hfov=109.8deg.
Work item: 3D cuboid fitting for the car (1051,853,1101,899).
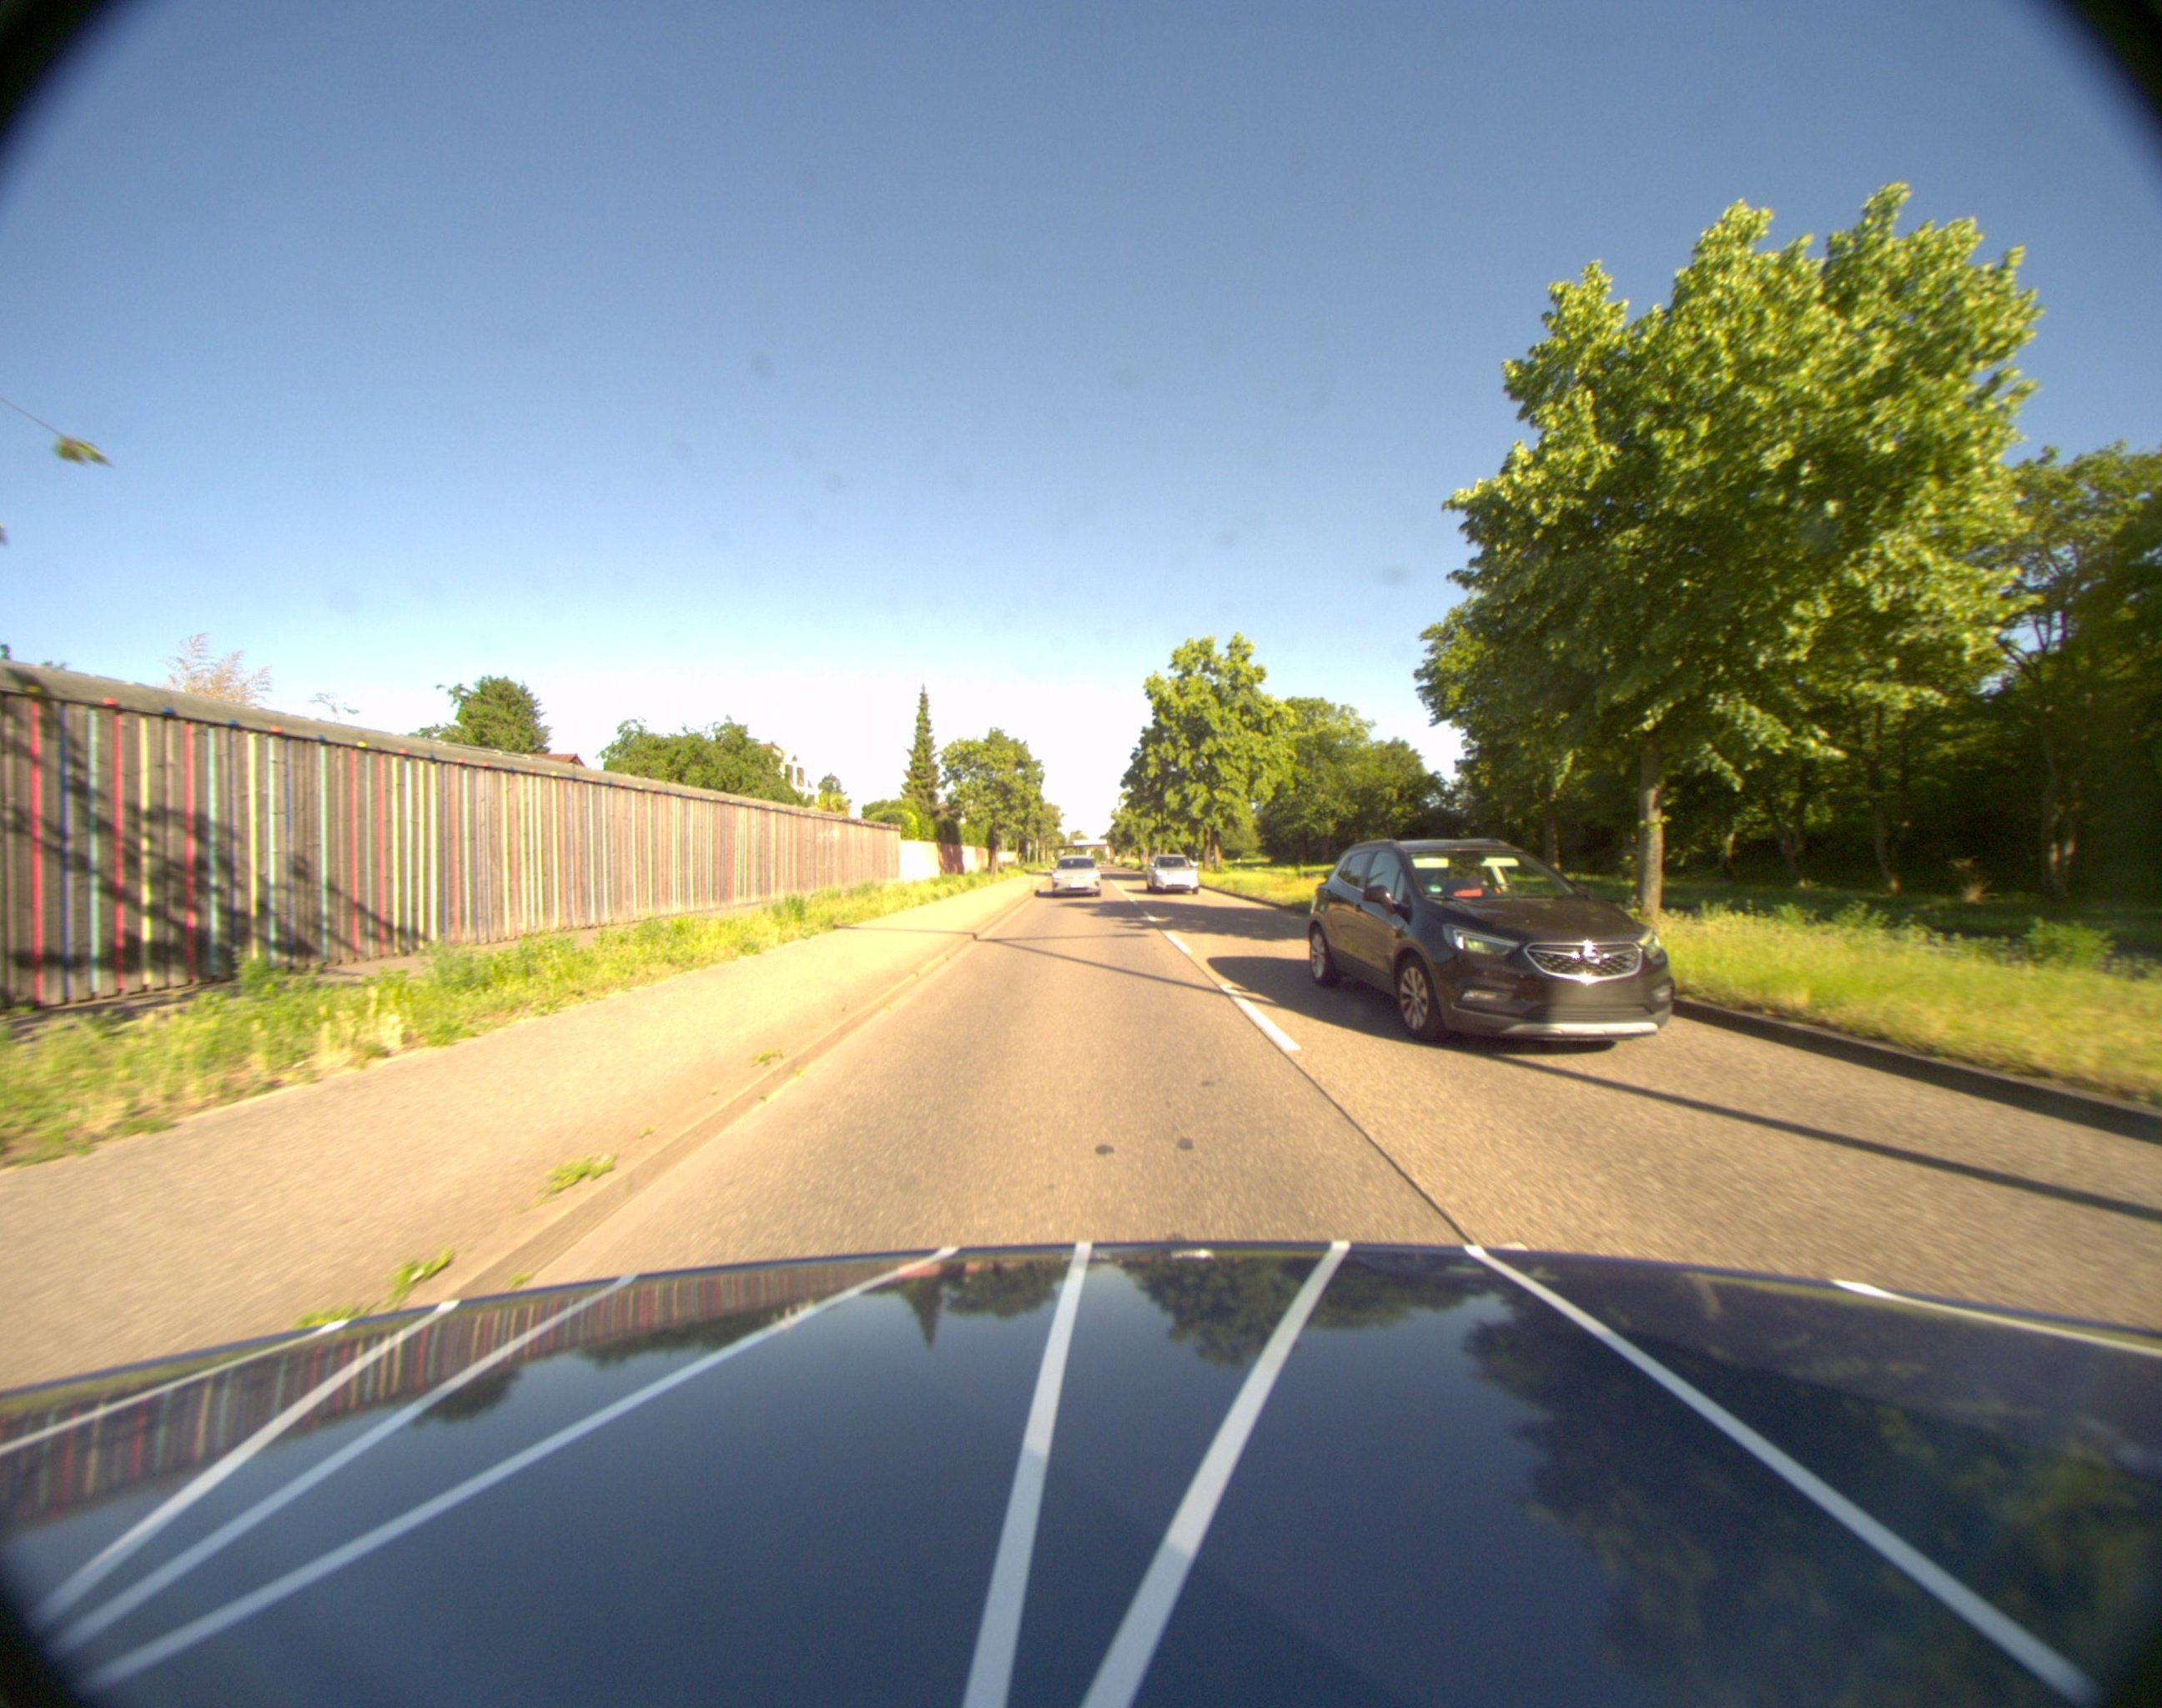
[{"bbox_3d":[-0.163,0.815,30.249,1.766,1.606,4.296,-2,1,1],"label":"car"}]

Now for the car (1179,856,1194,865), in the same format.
[{"bbox_3d":[16.882,1.041,121.398,1.730,1.448,4.346,2,0,0],"label":"car"}]

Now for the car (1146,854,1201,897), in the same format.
[{"bbox_3d":[3.707,0.800,30.968,1.789,1.600,4.105,0,0,1],"label":"car"}]

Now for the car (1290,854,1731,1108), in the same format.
[{"bbox_3d":[3.399,0.835,7.159,1.700,1.622,4.417,0,0,1],"label":"car"}]

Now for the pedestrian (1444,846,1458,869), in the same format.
[{"bbox_3d":[27.654,0.268,56.775,0.683,1.650,0.679,-3,2,-2],"label":"pedestrian"}]

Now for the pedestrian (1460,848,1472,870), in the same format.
[{"bbox_3d":[28.772,0.368,56.754,0.561,1.650,0.540,-2,1,1],"label":"pedestrian"}]
